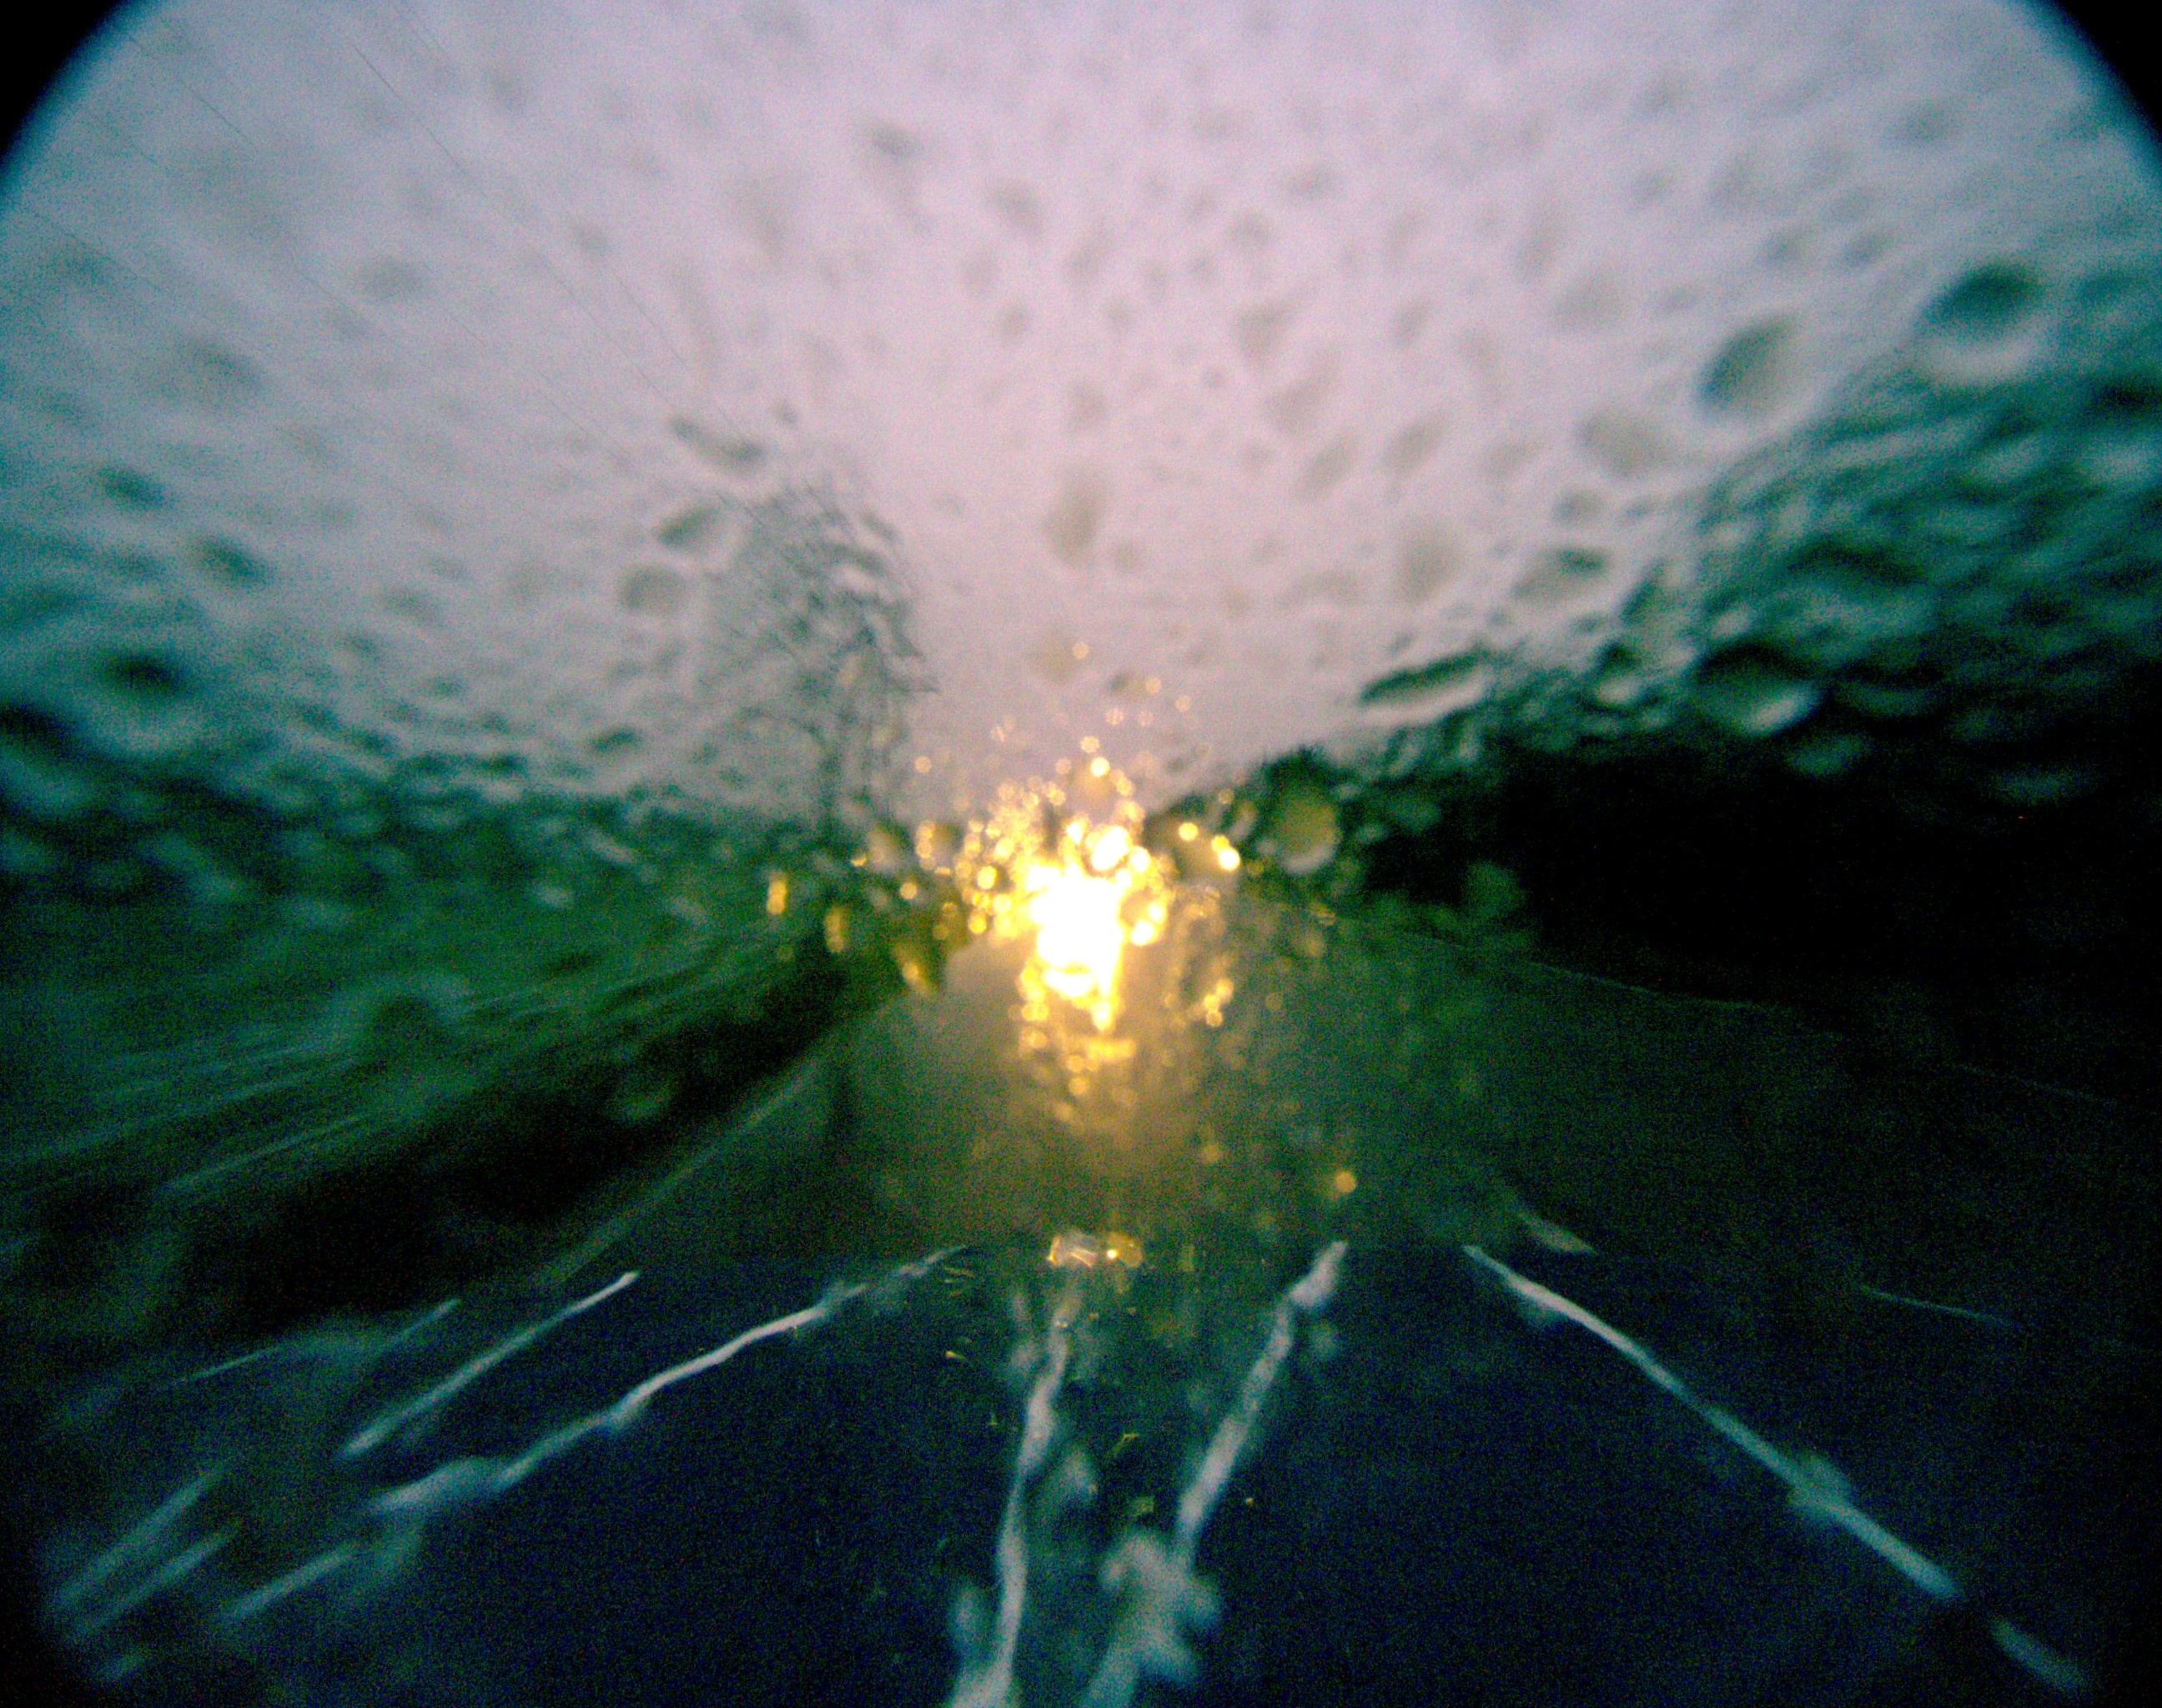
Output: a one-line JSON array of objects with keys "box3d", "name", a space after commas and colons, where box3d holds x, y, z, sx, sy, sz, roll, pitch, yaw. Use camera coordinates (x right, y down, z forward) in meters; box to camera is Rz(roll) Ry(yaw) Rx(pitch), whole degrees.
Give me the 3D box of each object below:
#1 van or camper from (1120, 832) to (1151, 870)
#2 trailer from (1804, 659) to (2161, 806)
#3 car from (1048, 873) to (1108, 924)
[{"box3d": [4.271, -0.256, 59.998, 2.026, 2.760, 6.743, -1, 0, 1], "name": "van or camper"}, {"box3d": [26.039, -3.086, 20.583, 2.442, 2.874, 11.084, -1, 0, 0], "name": "trailer"}, {"box3d": [-0.033, 1.639, 29.033, 1.909, 1.653, 4.001, 0, 1, 5], "name": "car"}]
